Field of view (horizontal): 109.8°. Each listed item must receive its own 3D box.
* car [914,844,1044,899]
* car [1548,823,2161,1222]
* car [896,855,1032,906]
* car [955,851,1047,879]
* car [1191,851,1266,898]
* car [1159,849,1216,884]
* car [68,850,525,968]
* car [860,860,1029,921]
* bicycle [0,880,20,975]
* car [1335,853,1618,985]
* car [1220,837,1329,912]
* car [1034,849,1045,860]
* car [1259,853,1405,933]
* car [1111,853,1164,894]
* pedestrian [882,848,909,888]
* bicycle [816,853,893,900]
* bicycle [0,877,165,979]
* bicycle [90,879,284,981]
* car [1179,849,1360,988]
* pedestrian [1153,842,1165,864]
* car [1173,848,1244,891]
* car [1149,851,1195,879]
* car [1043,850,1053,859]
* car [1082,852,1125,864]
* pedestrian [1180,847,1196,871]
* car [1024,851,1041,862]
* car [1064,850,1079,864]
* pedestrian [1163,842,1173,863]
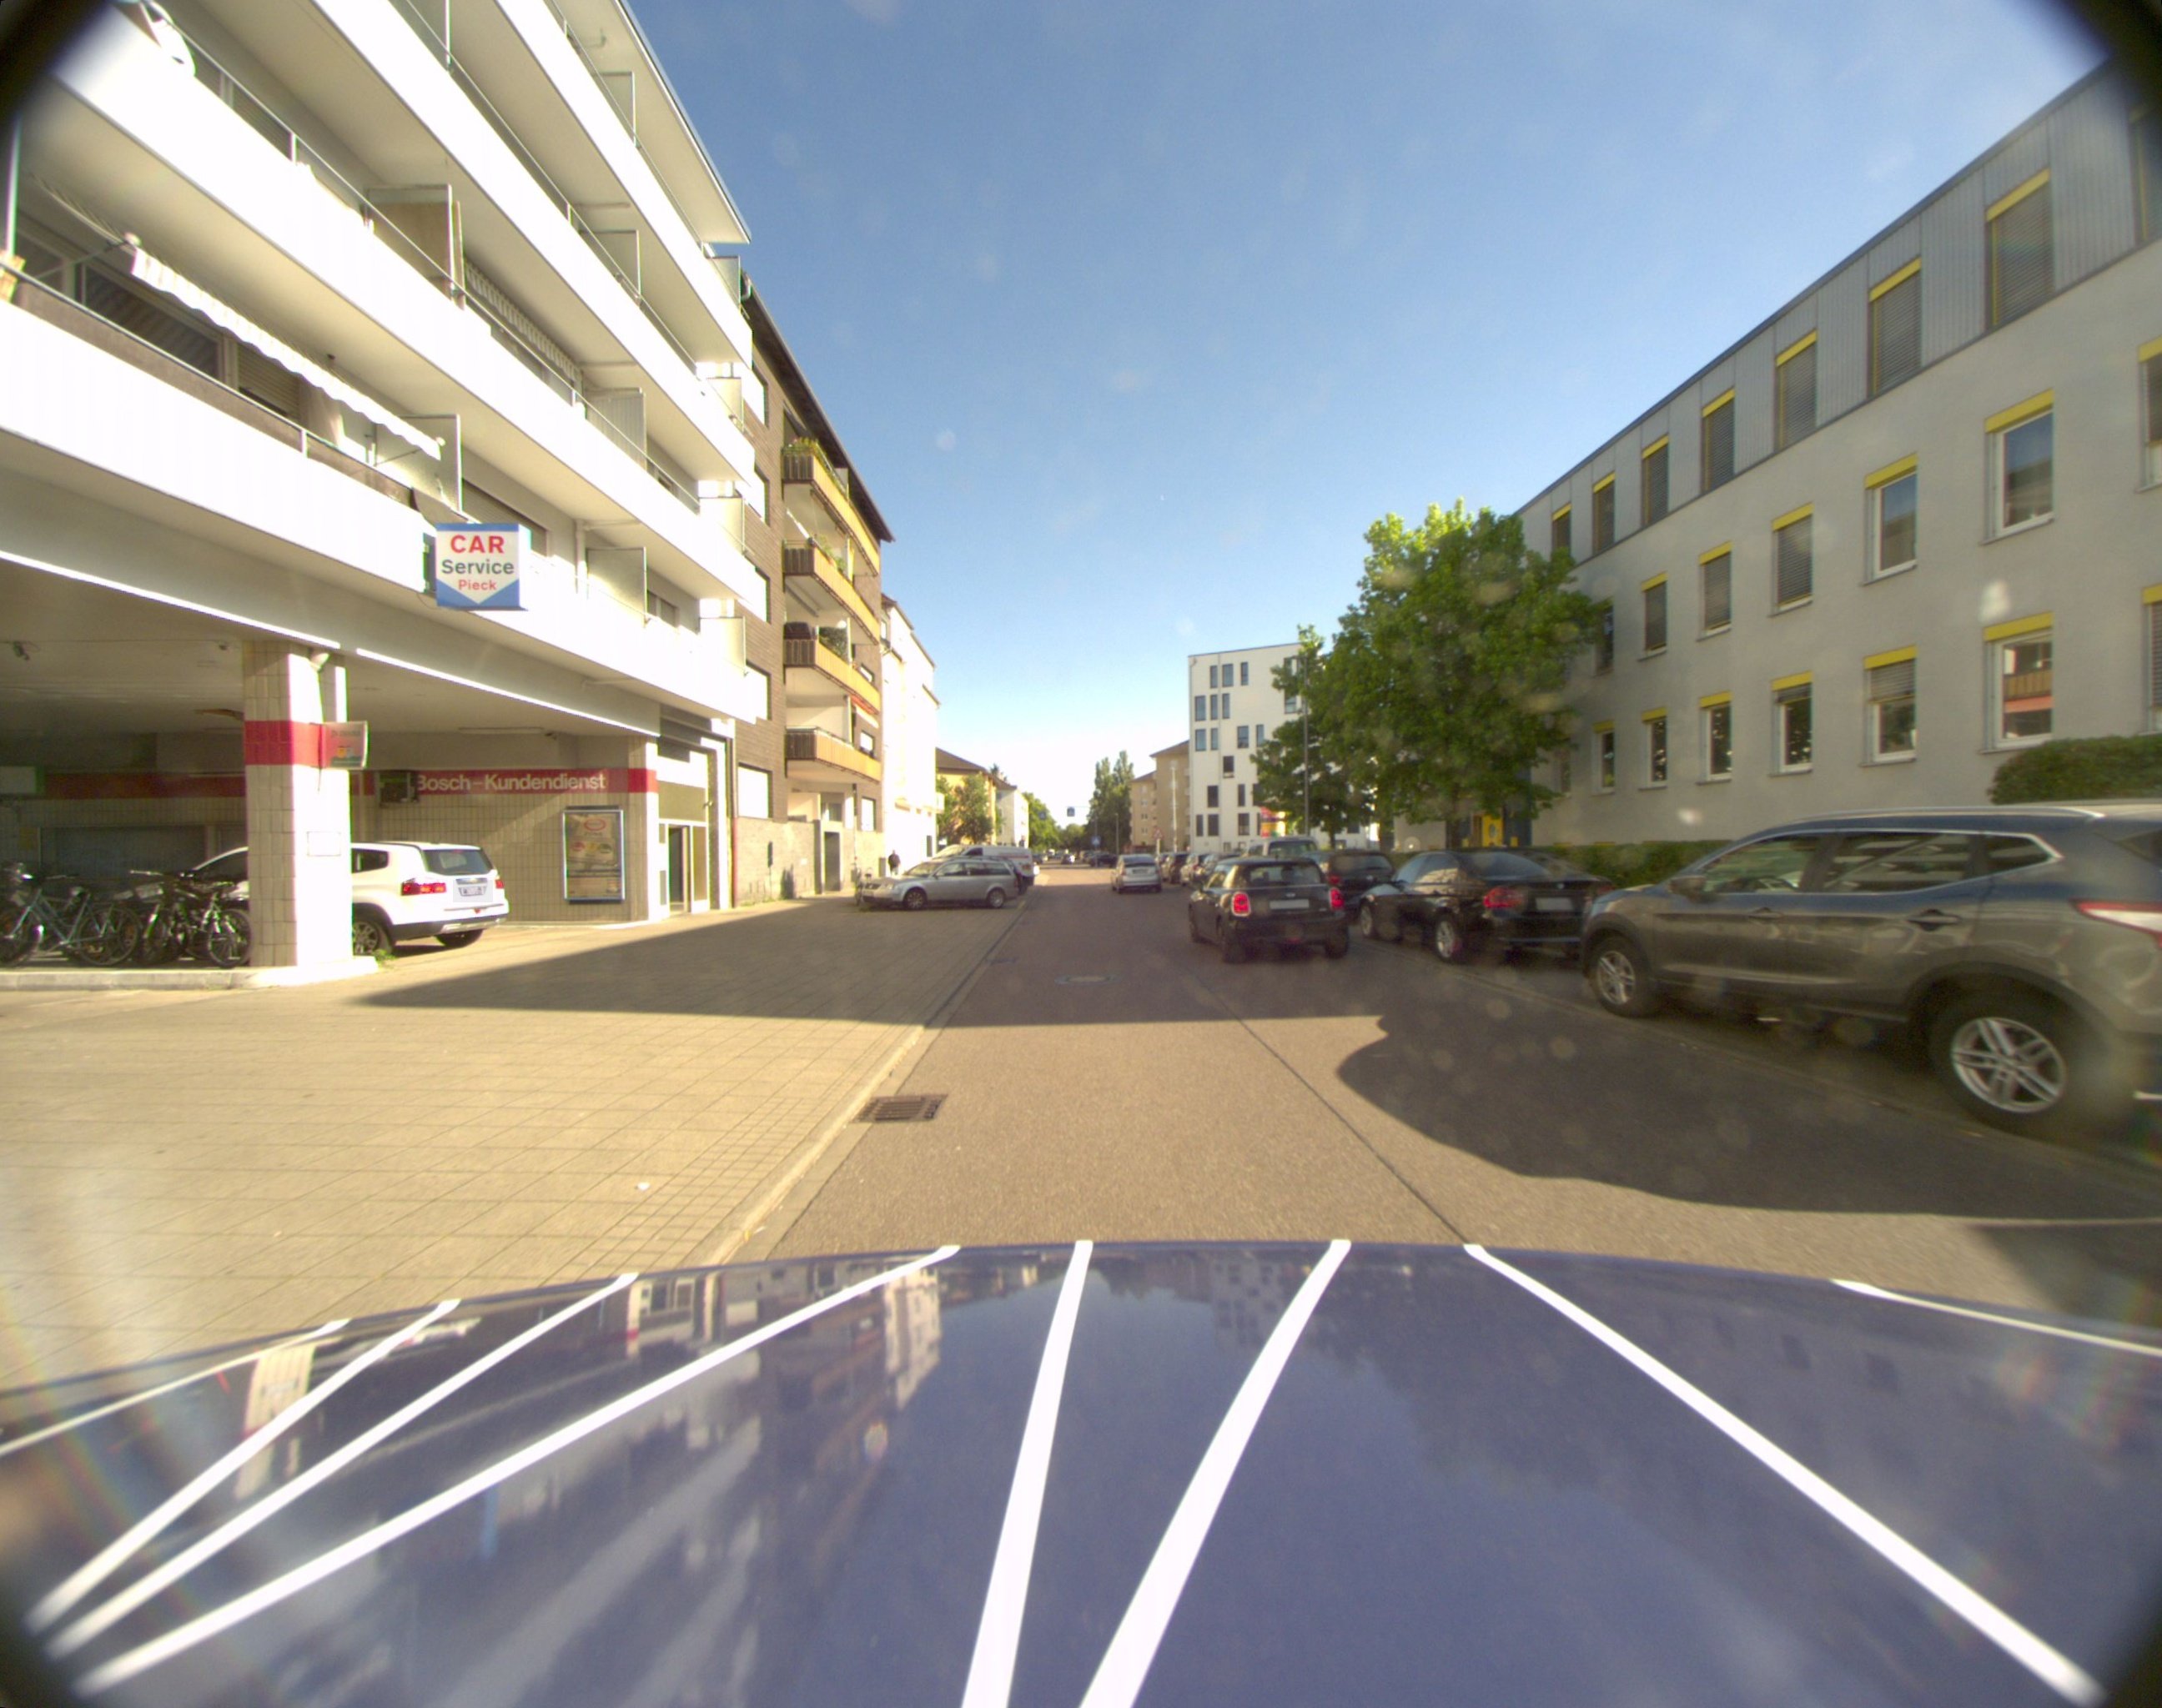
[{"bbox_3d":[-3.869,0.630,29.254,4.539,1.887,2.043,1,2,-42],"label":"car"},{"bbox_3d":[5.137,0.644,4.763,1.724,1.577,4.421,-1,0,1],"label":"car"},{"bbox_3d":[-3.869,0.831,25.610,1.751,1.504,4.336,2,2,44],"label":"car"},{"bbox_3d":[-4.551,0.640,43.403,4.884,1.455,1.968,2,-1,-36],"label":"car"},{"bbox_3d":[4.956,0.625,26.080,1.737,1.431,4.611,-1,1,1],"label":"car"},{"bbox_3d":[4.955,0.547,35.992,1.913,1.470,4.378,-1,1,-2],"label":"car"},{"bbox_3d":[-10.924,0.713,10.885,4.402,1.504,1.979,0,1,-1],"label":"car"},{"bbox_3d":[-3.831,0.960,21.930,4.656,1.458,1.685,-1,2,-43],"label":"car"},{"bbox_3d":[-13.444,0.880,8.750,1.590,1.103,0.466,-1,3,-4],"label":"bicycle"},{"bbox_3d":[5.203,0.733,10.793,1.730,1.456,4.439,-1,0,1],"label":"car"},{"bbox_3d":[5.187,0.504,20.995,1.692,1.828,4.340,-1,0,-3],"label":"car"},{"bbox_3d":[-6.898,0.061,125.251,1.845,1.747,3.998,0,0,-4],"label":"car"},{"bbox_3d":[5.165,0.724,16.220,1.602,1.432,3.998,-1,1,-3],"label":"car"},{"bbox_3d":[2.180,0.730,30.413,1.730,1.477,4.105,-2,0,-1],"label":"car"},{"bbox_3d":[-7.592,0.560,31.061,0.834,1.584,0.889,0,1,4],"label":"pedestrian"},{"bbox_3d":[-6.377,0.614,21.553,0.704,1.246,2.266,-1,-1,27],"label":"bicycle"},{"bbox_3d":[-11.818,0.848,8.829,1.590,1.103,0.466,-1,3,-4],"label":"bicycle"},{"bbox_3d":[-10.166,0.851,8.667,1.570,1.071,0.466,-1,3,0],"label":"bicycle"},{"bbox_3d":[2.662,0.818,11.613,1.744,1.504,3.727,-4,3,-1],"label":"car"},{"bbox_3d":[7.548,-0.064,73.468,0.776,2.108,0.957,-2,1,-22],"label":"pedestrian"},{"bbox_3d":[5.115,0.572,31.094,1.913,1.521,4.623,-1,1,-2],"label":"car"},{"bbox_3d":[4.834,0.543,40.751,1.794,1.402,4.222,-1,1,-2],"label":"car"},{"bbox_3d":[-7.074,0.079,161.391,1.999,1.685,3.997,-1,2,-3],"label":"car"},{"bbox_3d":[2.590,0.452,86.678,4.571,1.160,1.995,-3,1,-30],"label":"car"},{"bbox_3d":[7.658,0.341,54.263,0.977,1.704,0.875,0,1,21],"label":"pedestrian"},{"bbox_3d":[-6.635,0.303,103.547,1.909,1.506,3.997,0,0,-8],"label":"car"},{"bbox_3d":[-1.261,0.387,100.176,1.841,1.496,4.135,-1,3,-1],"label":"car"},{"bbox_3d":[8.115,-0.131,70.666,0.789,1.875,0.847,0,3,15],"label":"pedestrian"}]
